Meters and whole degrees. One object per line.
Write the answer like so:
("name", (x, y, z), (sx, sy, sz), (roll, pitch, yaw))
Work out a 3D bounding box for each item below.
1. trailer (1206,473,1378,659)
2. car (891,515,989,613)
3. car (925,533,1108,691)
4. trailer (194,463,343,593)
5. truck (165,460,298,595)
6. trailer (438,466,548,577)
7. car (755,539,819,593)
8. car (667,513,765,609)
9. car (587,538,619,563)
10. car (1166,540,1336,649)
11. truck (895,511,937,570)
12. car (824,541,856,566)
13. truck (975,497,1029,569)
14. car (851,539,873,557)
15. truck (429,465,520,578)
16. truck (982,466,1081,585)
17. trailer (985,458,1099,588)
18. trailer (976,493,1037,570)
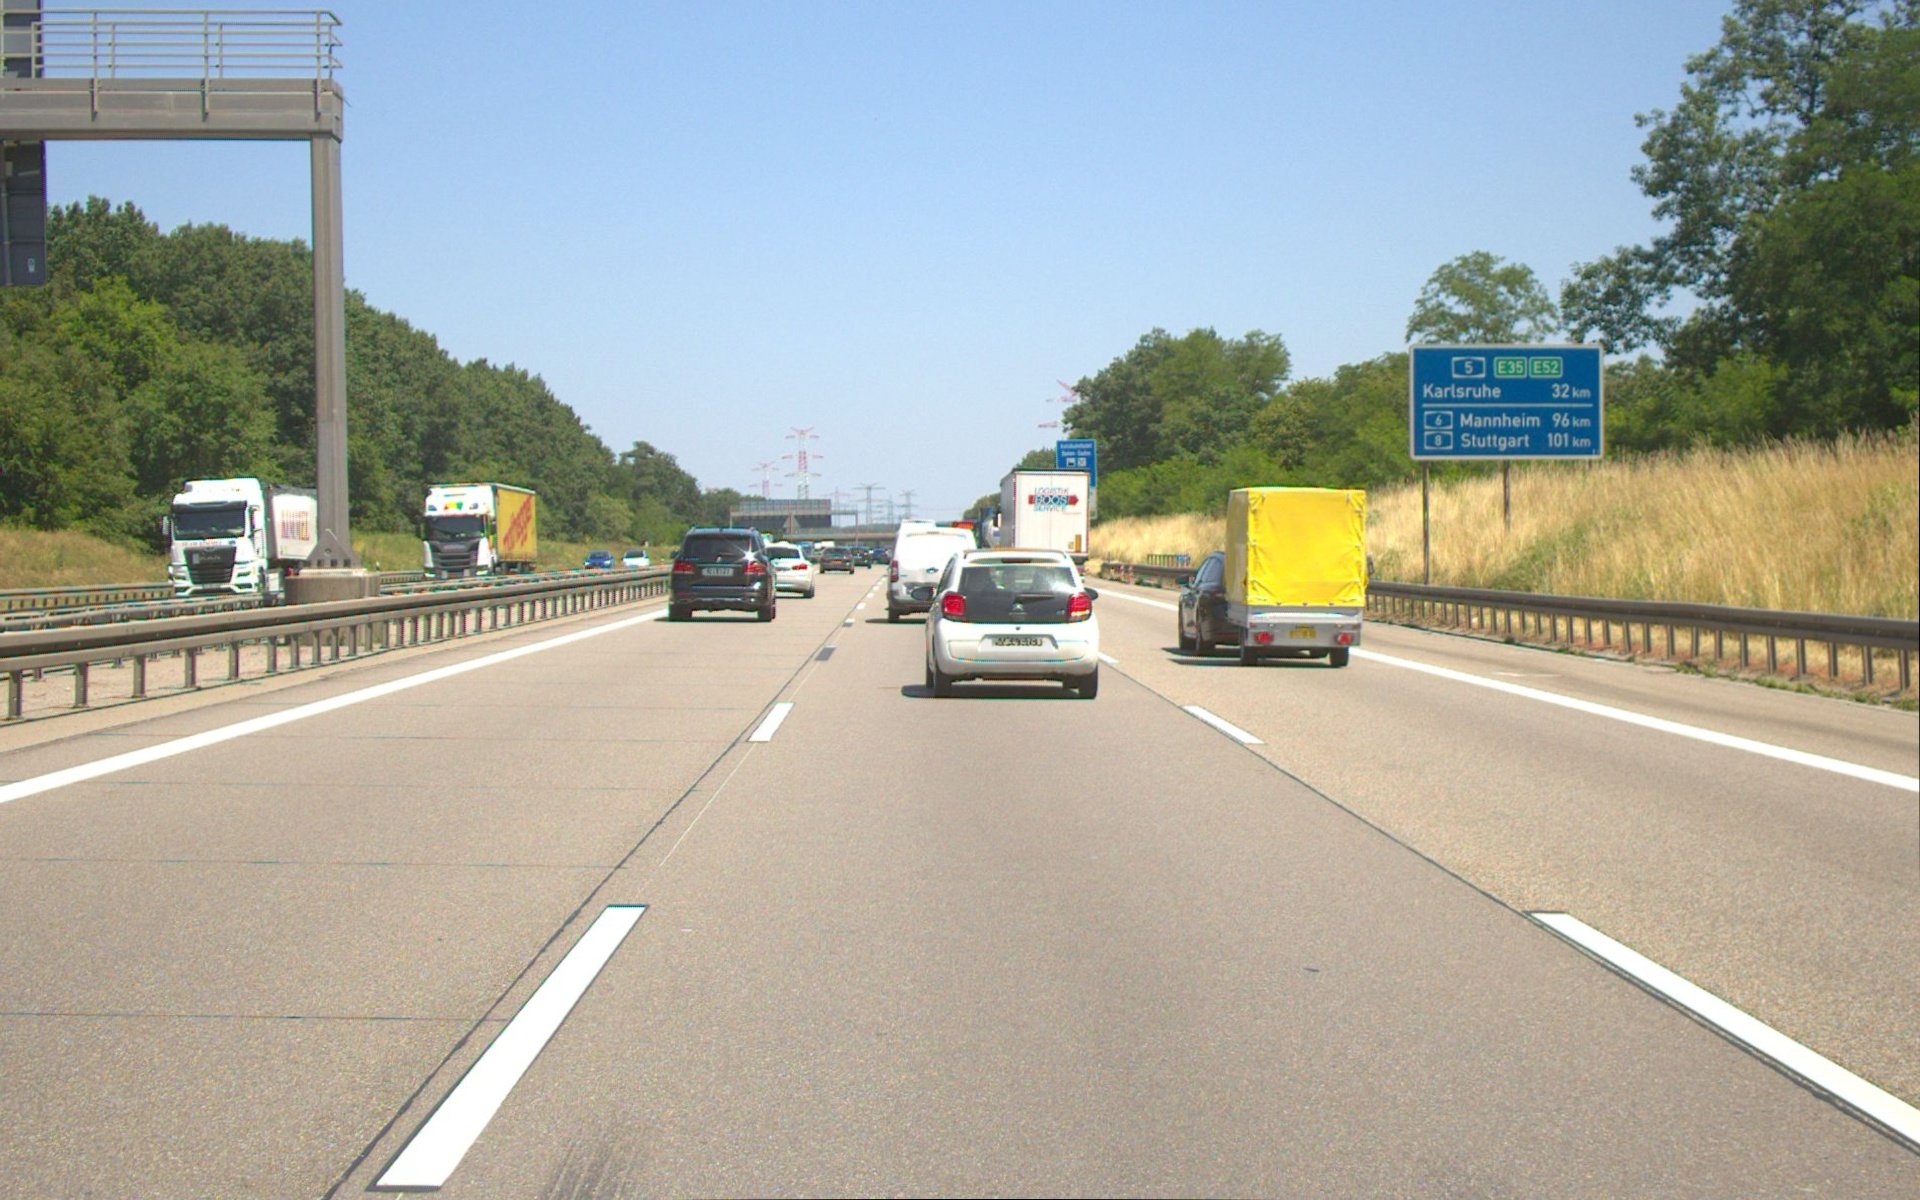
("trailer", (4.256, -0.457, 44.540), (1.703, 2.282, 3.840), (1, 1, -2))
("car", (-0.429, -0.702, 66.784), (1.814, 1.821, 5.111), (0, 1, -1))
("car", (0.515, 0.078, 34.732), (1.708, 1.490, 4.024), (1, 1, -1))
("trailer", (-22.563, -2.369, 112.712), (2.625, 3.935, 11.159), (-3, 1, -1))
("truck", (-22.476, -2.234, 106.347), (2.625, 3.935, 6.483), (-3, 1, -1))
("trailer", (-18.420, -3.100, 136.366), (2.464, 4.058, 14.280), (-3, 1, -1))
("car", (-4.680, -0.941, 93.333), (1.669, 1.396, 3.713), (0, 1, -2))
("car", (-4.604, -0.753, 65.155), (1.626, 1.749, 3.805), (1, 1, -1))
("car", (-24.136, -3.351, 232.388), (1.702, 1.540, 4.536), (-3, 1, -1))
("car", (4.077, -0.110, 48.862), (1.821, 1.451, 4.789), (1, 1, -2))
("truck", (-2.223, -2.951, 171.698), (2.060, 2.904, 7.004), (0, 1, -1))
("car", (-6.287, -2.445, 179.972), (1.607, 1.296, 3.674), (1, 1, -1))
("truck", (2.276, -3.600, 185.875), (2.682, 3.824, 4.444), (1, 1, -1))
("car", (-6.534, -3.471, 229.202), (1.405, 1.128, 3.358), (1, 1, -1))
("truck", (-18.305, -2.967, 129.868), (2.464, 4.058, 6.288), (-3, 1, -1))
("truck", (2.602, -2.727, 127.037), (3.285, 4.205, 6.008), (1, 1, -1))
("trailer", (2.758, -2.604, 120.018), (3.285, 4.205, 13.566), (1, 1, -1))
("trailer", (2.390, -3.526, 180.103), (2.682, 3.824, 12.011), (1, 1, -1))
